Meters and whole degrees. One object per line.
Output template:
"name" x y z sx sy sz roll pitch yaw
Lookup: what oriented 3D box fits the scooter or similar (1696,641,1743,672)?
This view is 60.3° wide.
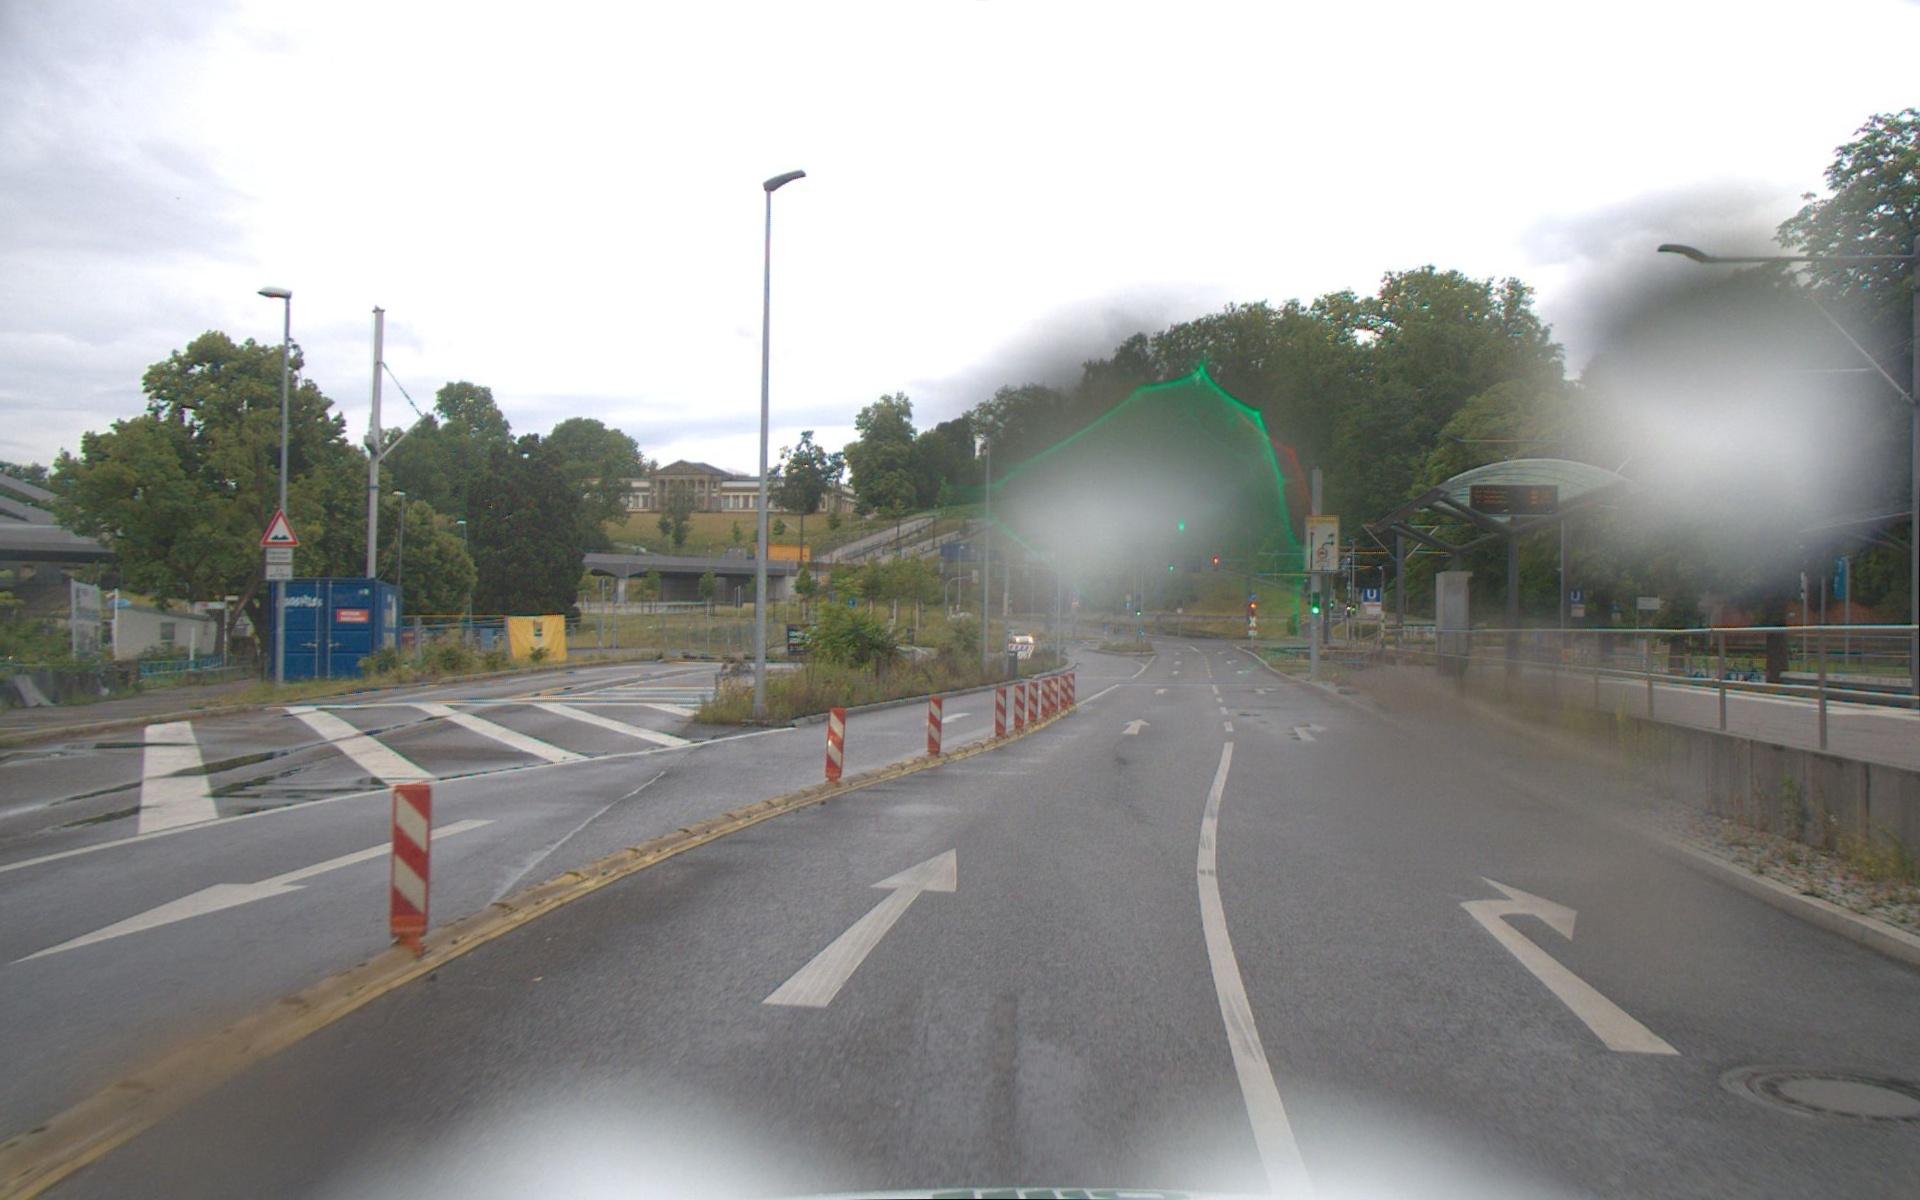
"scooter or similar" 27.940 2.079 60.872 1.510 1.157 0.431 0 -1 7

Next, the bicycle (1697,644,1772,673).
"bicycle" 26.881 2.021 57.406 2.272 0.974 0.570 0 -1 7

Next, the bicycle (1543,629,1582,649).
"bicycle" 31.078 2.003 85.372 1.772 1.050 0.653 0 0 6

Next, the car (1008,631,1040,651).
"car" 5.003 3.190 129.994 1.559 1.517 3.702 0 -1 -13

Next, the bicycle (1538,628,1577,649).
"bicycle" 31.113 1.999 86.119 1.772 1.052 0.653 0 0 6

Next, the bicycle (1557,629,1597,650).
"bicycle" 30.924 1.991 82.908 1.772 1.050 0.653 0 0 6

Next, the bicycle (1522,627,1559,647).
"bicycle" 31.545 2.013 89.910 1.772 1.050 0.653 0 0 6

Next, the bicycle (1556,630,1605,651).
"bicycle" 30.743 1.999 81.960 2.175 1.050 0.689 0 0 6

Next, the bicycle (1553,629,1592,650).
"bicycle" 30.992 1.996 83.716 1.772 1.050 0.653 0 0 6
